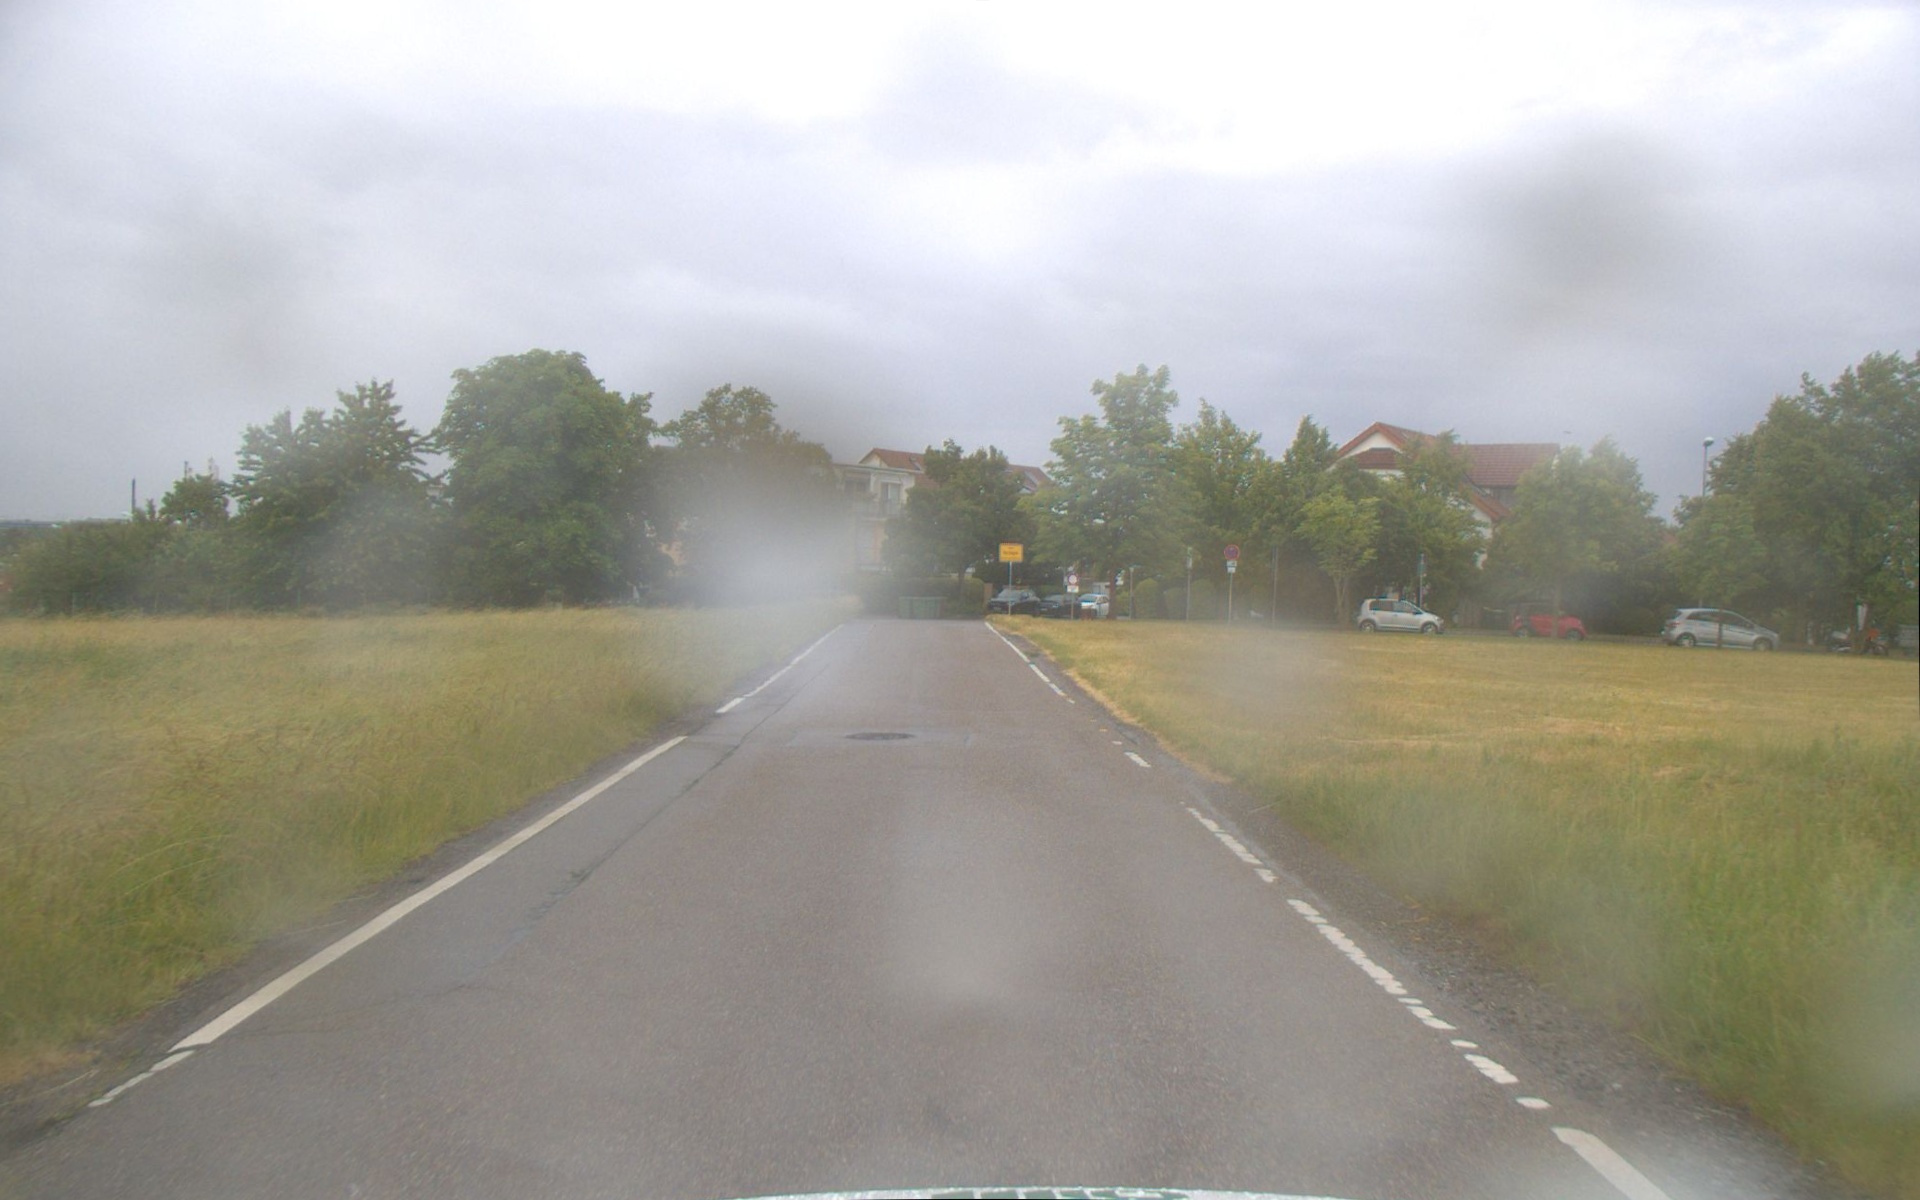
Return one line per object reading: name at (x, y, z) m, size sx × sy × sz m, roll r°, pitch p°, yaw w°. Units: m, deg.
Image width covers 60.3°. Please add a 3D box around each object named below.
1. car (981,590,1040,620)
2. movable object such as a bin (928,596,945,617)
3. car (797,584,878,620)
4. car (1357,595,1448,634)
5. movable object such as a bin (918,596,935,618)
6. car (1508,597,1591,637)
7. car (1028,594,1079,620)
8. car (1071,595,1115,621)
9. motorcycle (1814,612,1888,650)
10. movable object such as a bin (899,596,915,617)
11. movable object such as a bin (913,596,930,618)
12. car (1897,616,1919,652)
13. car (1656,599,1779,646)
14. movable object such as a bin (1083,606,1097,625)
car at (2.937, 0.298, 94.678) m, size 1.741 × 1.545 × 4.132 m, roll 4°, pitch 1°, yaw 27°
movable object such as a bin at (-1.224, 0.325, 85.111) m, size 0.680 × 1.073 × 0.605 m, roll 1°, pitch 0°, yaw 20°
car at (-5.641, 0.095, 76.034) m, size 3.632 × 1.579 × 1.681 m, roll 0°, pitch -1°, yaw 43°
car at (17.656, 0.578, 65.943) m, size 3.468 × 1.505 × 1.681 m, roll 1°, pitch -1°, yaw 17°
movable object such as a bin at (-1.703, 0.333, 83.940) m, size 0.680 × 1.093 × 0.544 m, roll 1°, pitch 0°, yaw 20°
car at (22.976, 0.670, 64.554) m, size 2.939 × 1.461 × 1.555 m, roll 2°, pitch -1°, yaw 16°
car at (5.673, 0.452, 99.862) m, size 1.604 × 1.433 × 3.599 m, roll 4°, pitch 1°, yaw 29°
car at (8.406, 0.518, 104.273) m, size 1.483 × 1.502 × 3.267 m, roll 4°, pitch 1°, yaw 30°
motorcycle at (33.266, 1.150, 61.758) m, size 2.209 × 1.325 × 0.972 m, roll 2°, pitch 0°, yaw 11°
movable object such as a bin at (-2.668, 0.324, 83.583) m, size 0.651 × 1.092 × 0.544 m, roll 1°, pitch 0°, yaw 20°
movable object such as a bin at (-1.936, 0.339, 83.348) m, size 0.680 × 1.093 × 0.602 m, roll 1°, pitch 0°, yaw 20°
car at (36.891, 1.305, 61.382) m, size 3.247 × 1.303 × 1.735 m, roll 2°, pitch 0°, yaw 10°
car at (28.922, 0.855, 63.223) m, size 3.892 × 1.579 × 1.853 m, roll 2°, pitch 0°, yaw 11°
movable object such as a bin at (6.858, 0.815, 87.253) m, size 0.560 × 0.947 × 0.529 m, roll 2°, pitch -1°, yaw 33°
